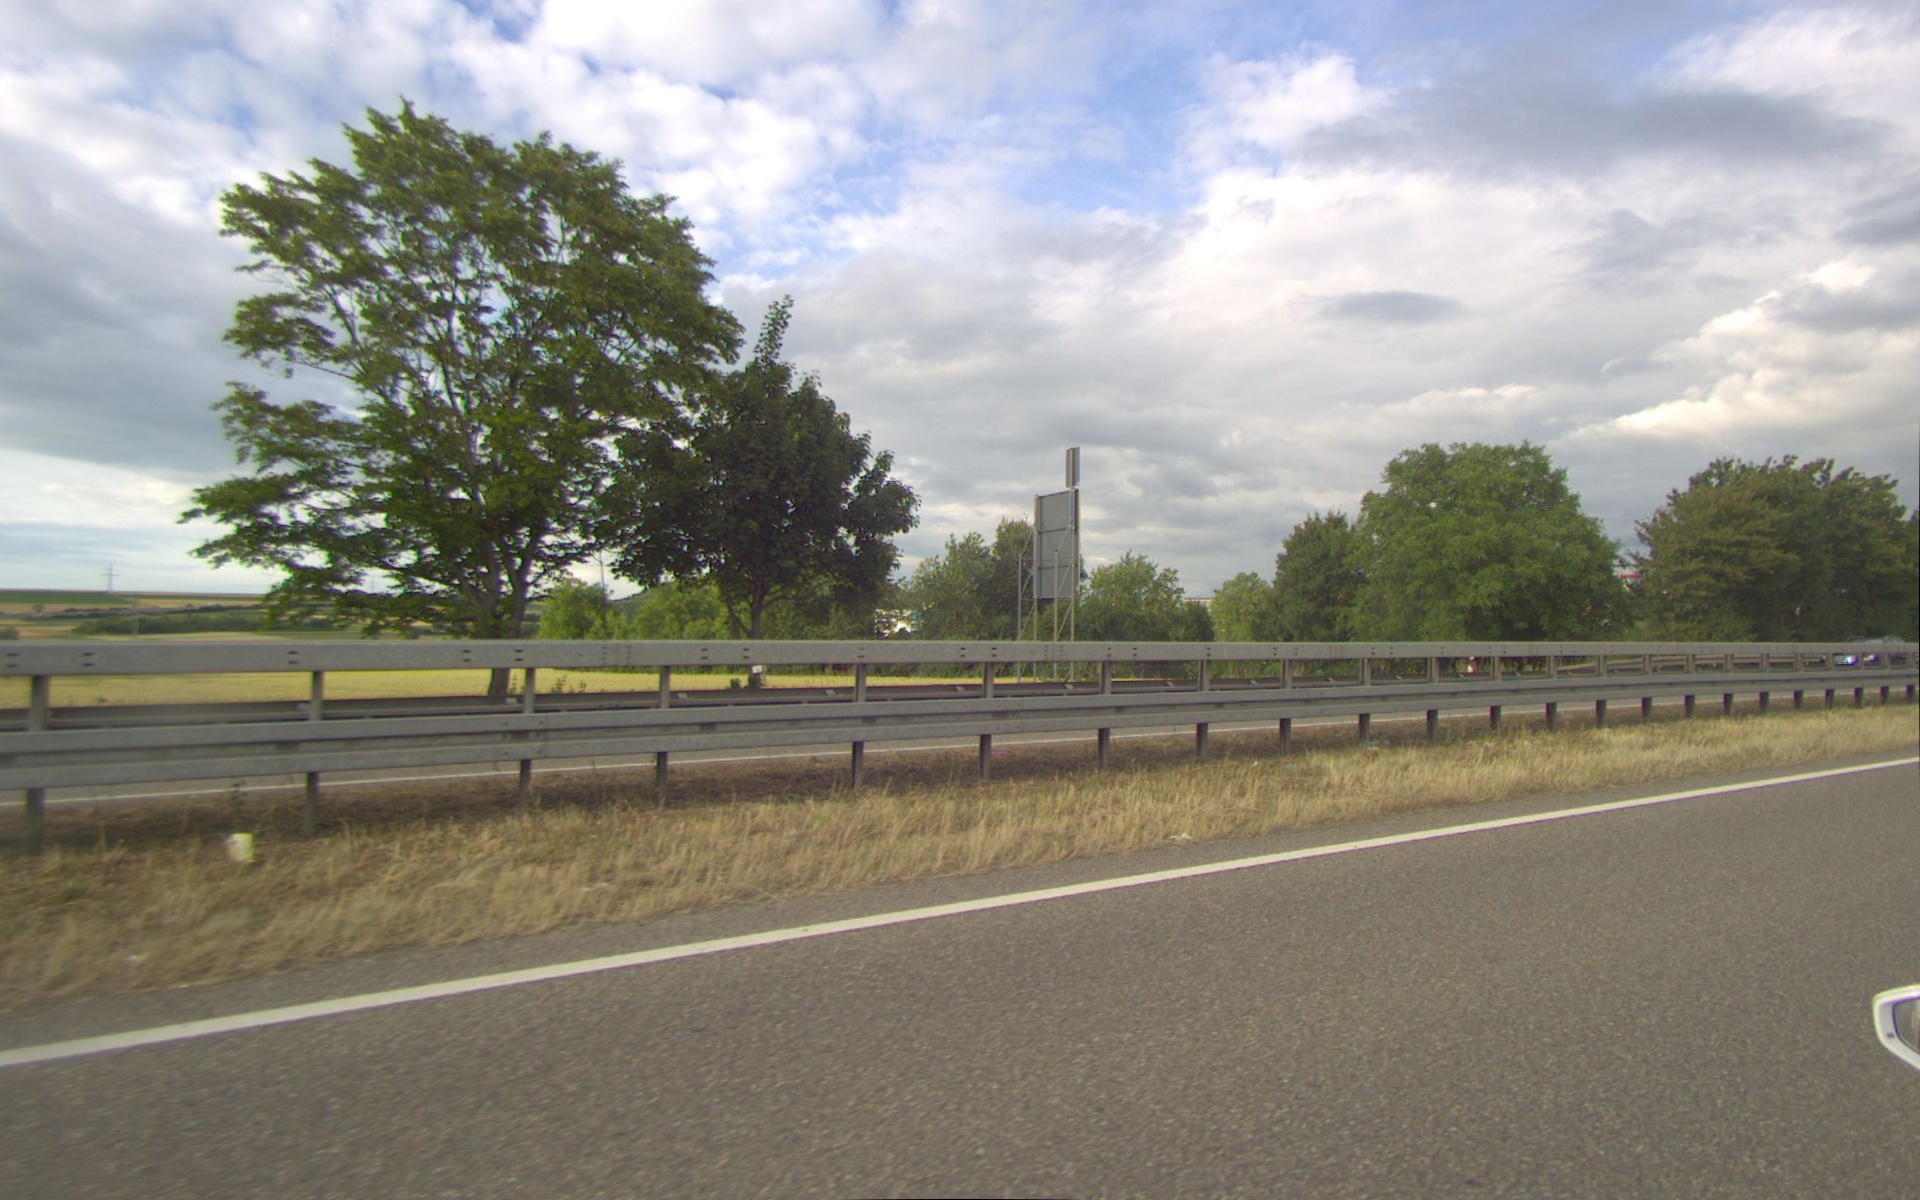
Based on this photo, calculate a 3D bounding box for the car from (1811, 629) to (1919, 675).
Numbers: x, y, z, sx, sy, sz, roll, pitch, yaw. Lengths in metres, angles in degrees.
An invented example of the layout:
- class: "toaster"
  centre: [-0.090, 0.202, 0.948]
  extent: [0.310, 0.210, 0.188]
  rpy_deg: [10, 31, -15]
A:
- class: "car"
  centre: [34.215, 1.946, 37.882]
  extent: [4.429, 1.647, 1.790]
  rpy_deg: [1, -2, -29]
